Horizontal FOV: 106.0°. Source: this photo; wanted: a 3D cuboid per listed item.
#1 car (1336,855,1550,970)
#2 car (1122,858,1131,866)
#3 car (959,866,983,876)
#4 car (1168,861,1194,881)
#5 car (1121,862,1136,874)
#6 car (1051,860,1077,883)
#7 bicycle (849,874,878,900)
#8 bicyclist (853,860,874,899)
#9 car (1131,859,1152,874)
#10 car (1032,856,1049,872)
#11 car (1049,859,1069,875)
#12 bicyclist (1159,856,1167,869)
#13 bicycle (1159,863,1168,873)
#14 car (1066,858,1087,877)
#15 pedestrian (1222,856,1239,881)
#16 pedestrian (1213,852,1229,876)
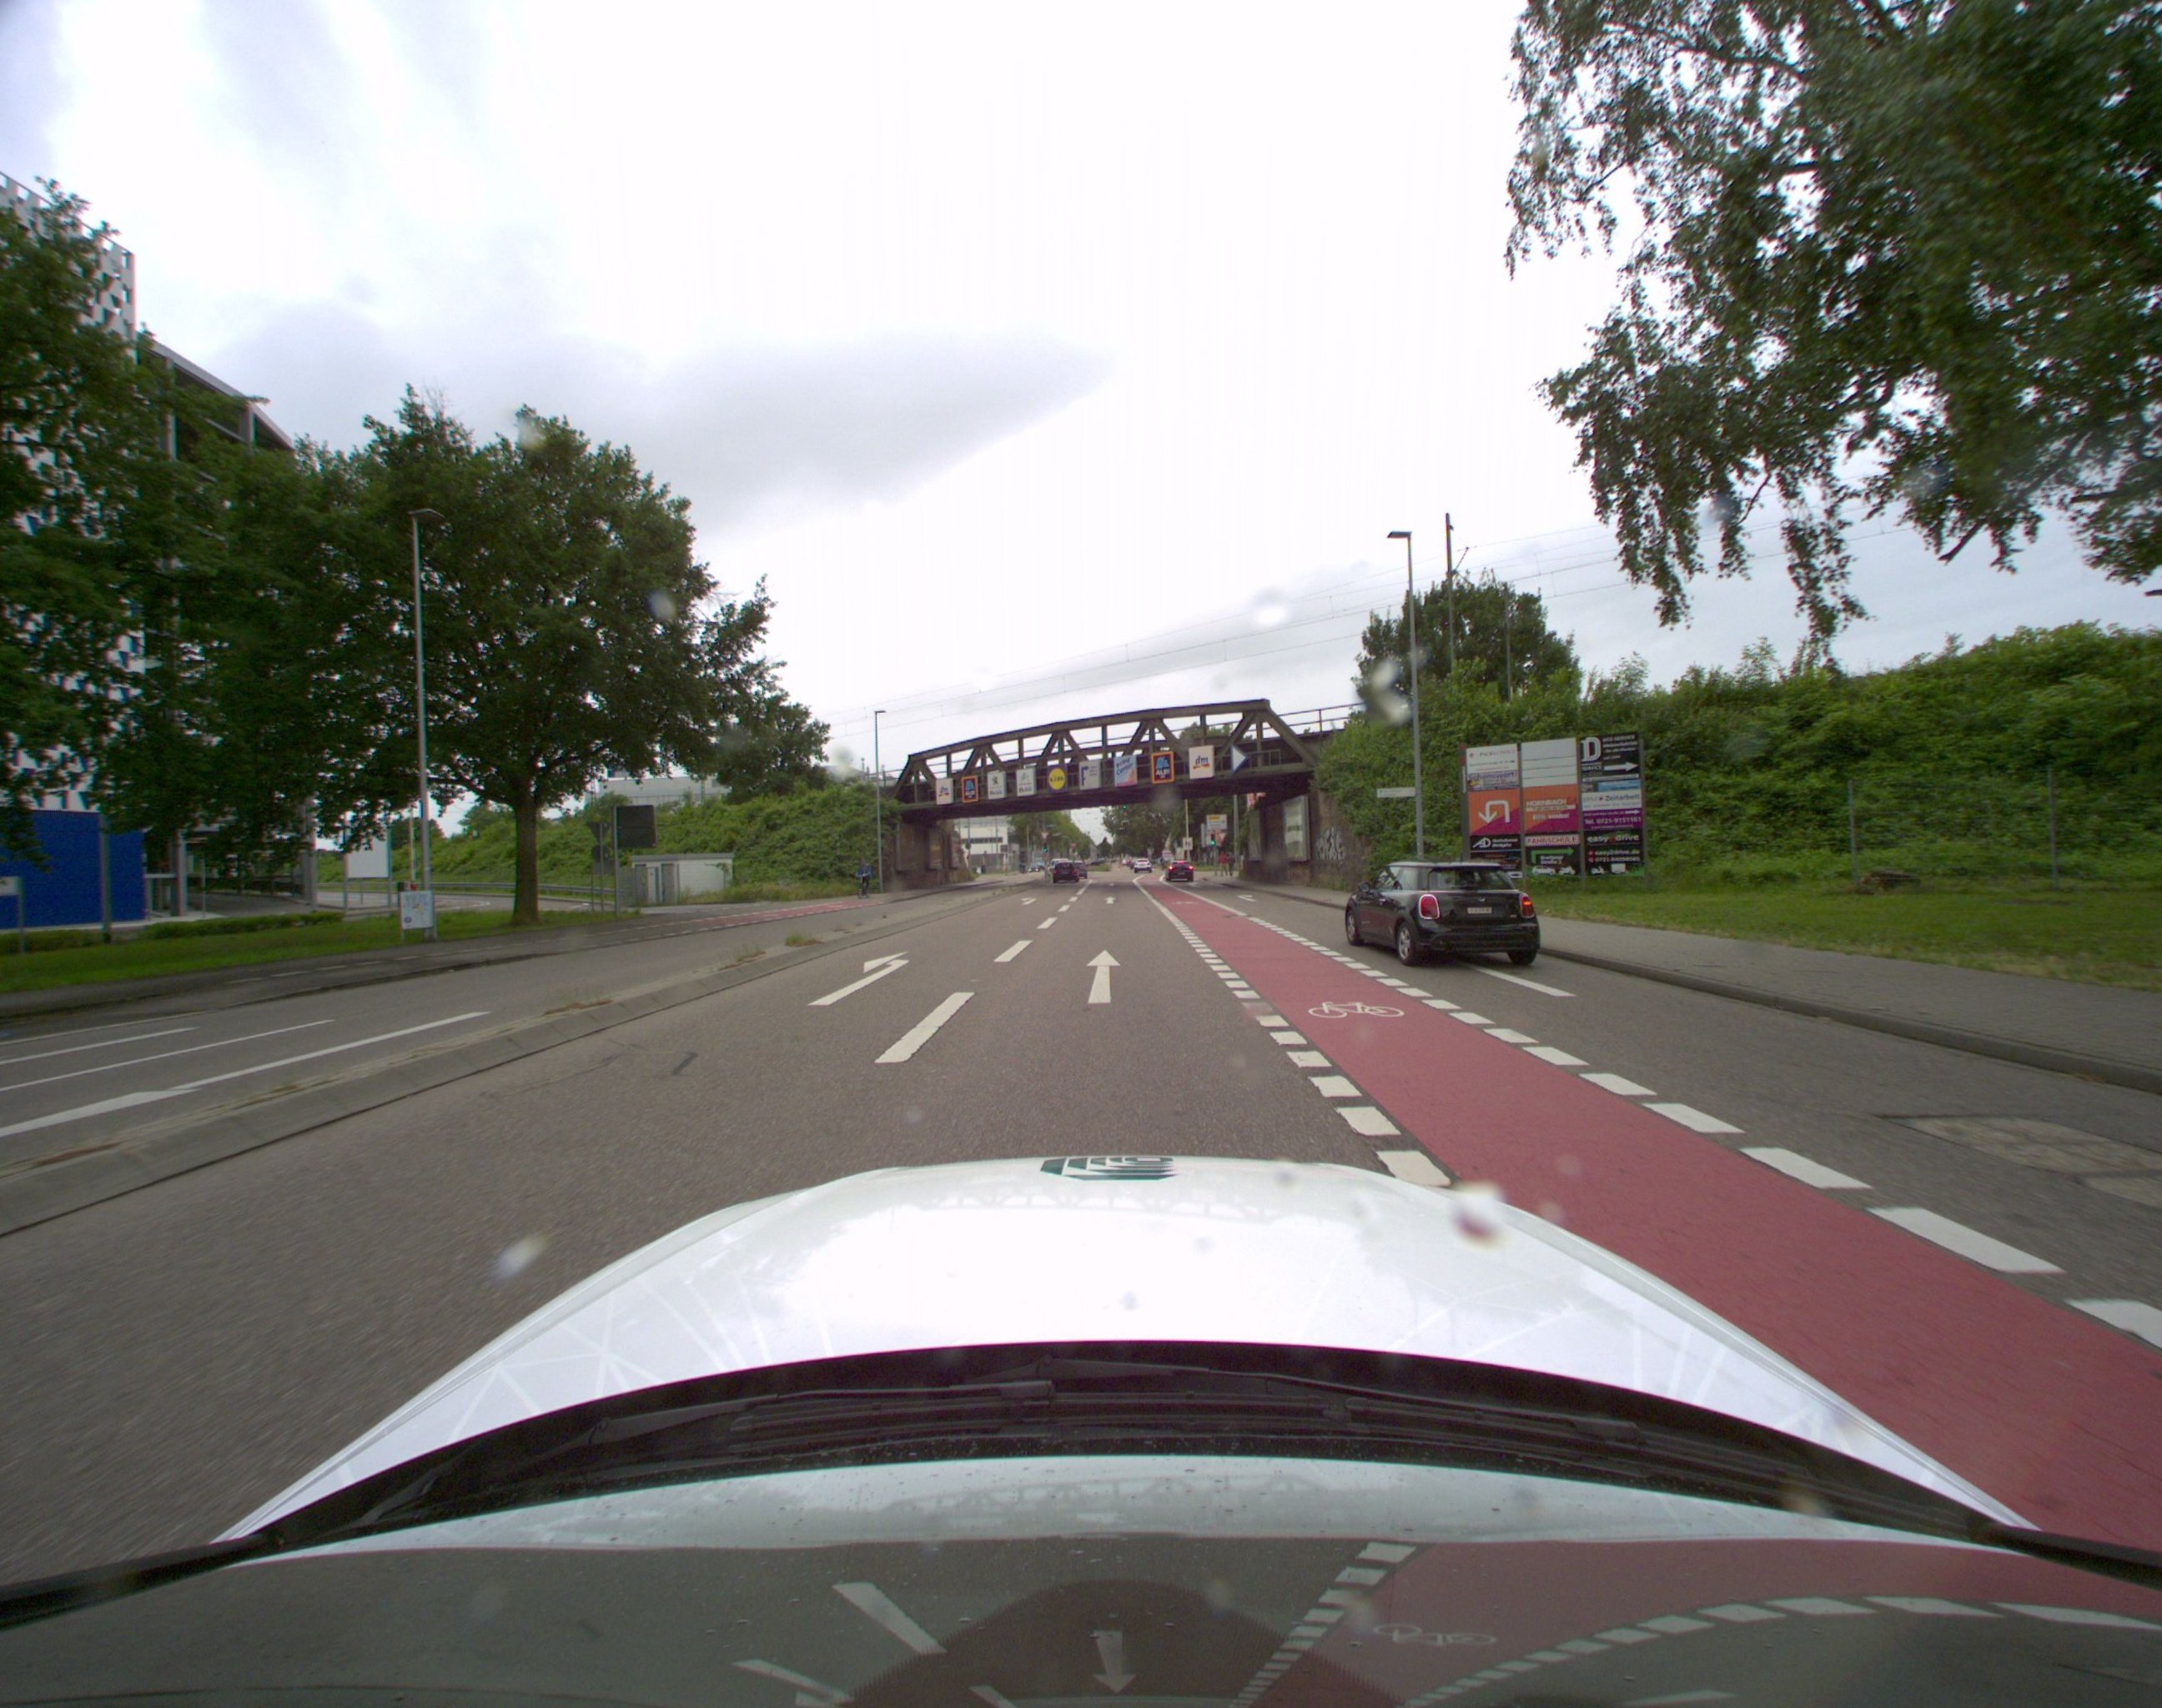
[{"bbox_3d":[5.150,0.742,12.154,1.672,1.431,3.776,-1,0,3],"label":"car"},{"bbox_3d":[9.914,1.753,177.689,1.790,1.513,3.704,-1,0,-1],"label":"car"},{"bbox_3d":[-21.590,3.315,159.934,4.513,1.634,1.912,-2,-1,-1],"label":"car"},{"bbox_3d":[6.781,1.153,55.428,1.639,1.281,3.424,-1,0,5],"label":"car"},{"bbox_3d":[6.649,1.928,114.184,1.679,1.513,3.704,-1,0,-1],"label":"car"},{"bbox_3d":[-1.188,1.231,58.202,1.763,1.528,3.667,-1,0,-1],"label":"car"},{"bbox_3d":[-10.494,1.579,39.372,0.710,1.187,2.372,0,-1,2],"label":"bicycle"},{"bbox_3d":[-10.499,1.238,39.377,0.699,1.874,1.020,0,-1,2],"label":"bicyclist"},{"bbox_3d":[6.457,1.334,87.414,1.818,1.600,3.774,-1,0,-1],"label":"car"},{"bbox_3d":[-7.518,1.918,152.317,2.317,2.826,5.957,-2,-1,5],"label":"car"},{"bbox_3d":[-2.285,1.318,84.777,1.957,1.528,5.007,-1,0,-2],"label":"car"},{"bbox_3d":[10.145,1.072,100.412,0.813,1.630,1.235,-2,-1,2],"label":"bicyclist"},{"bbox_3d":[10.176,1.753,100.404,0.813,1.212,2.684,-2,-1,2],"label":"bicycle"},{"bbox_3d":[-0.441,1.148,70.663,1.768,1.652,3.667,-1,0,-1],"label":"car"},{"bbox_3d":[10.115,0.978,55.095,0.781,1.640,0.737,-1,-1,-31],"label":"pedestrian"},{"bbox_3d":[10.097,0.721,58.736,0.864,1.760,0.792,-2,-1,24],"label":"pedestrian"}]
